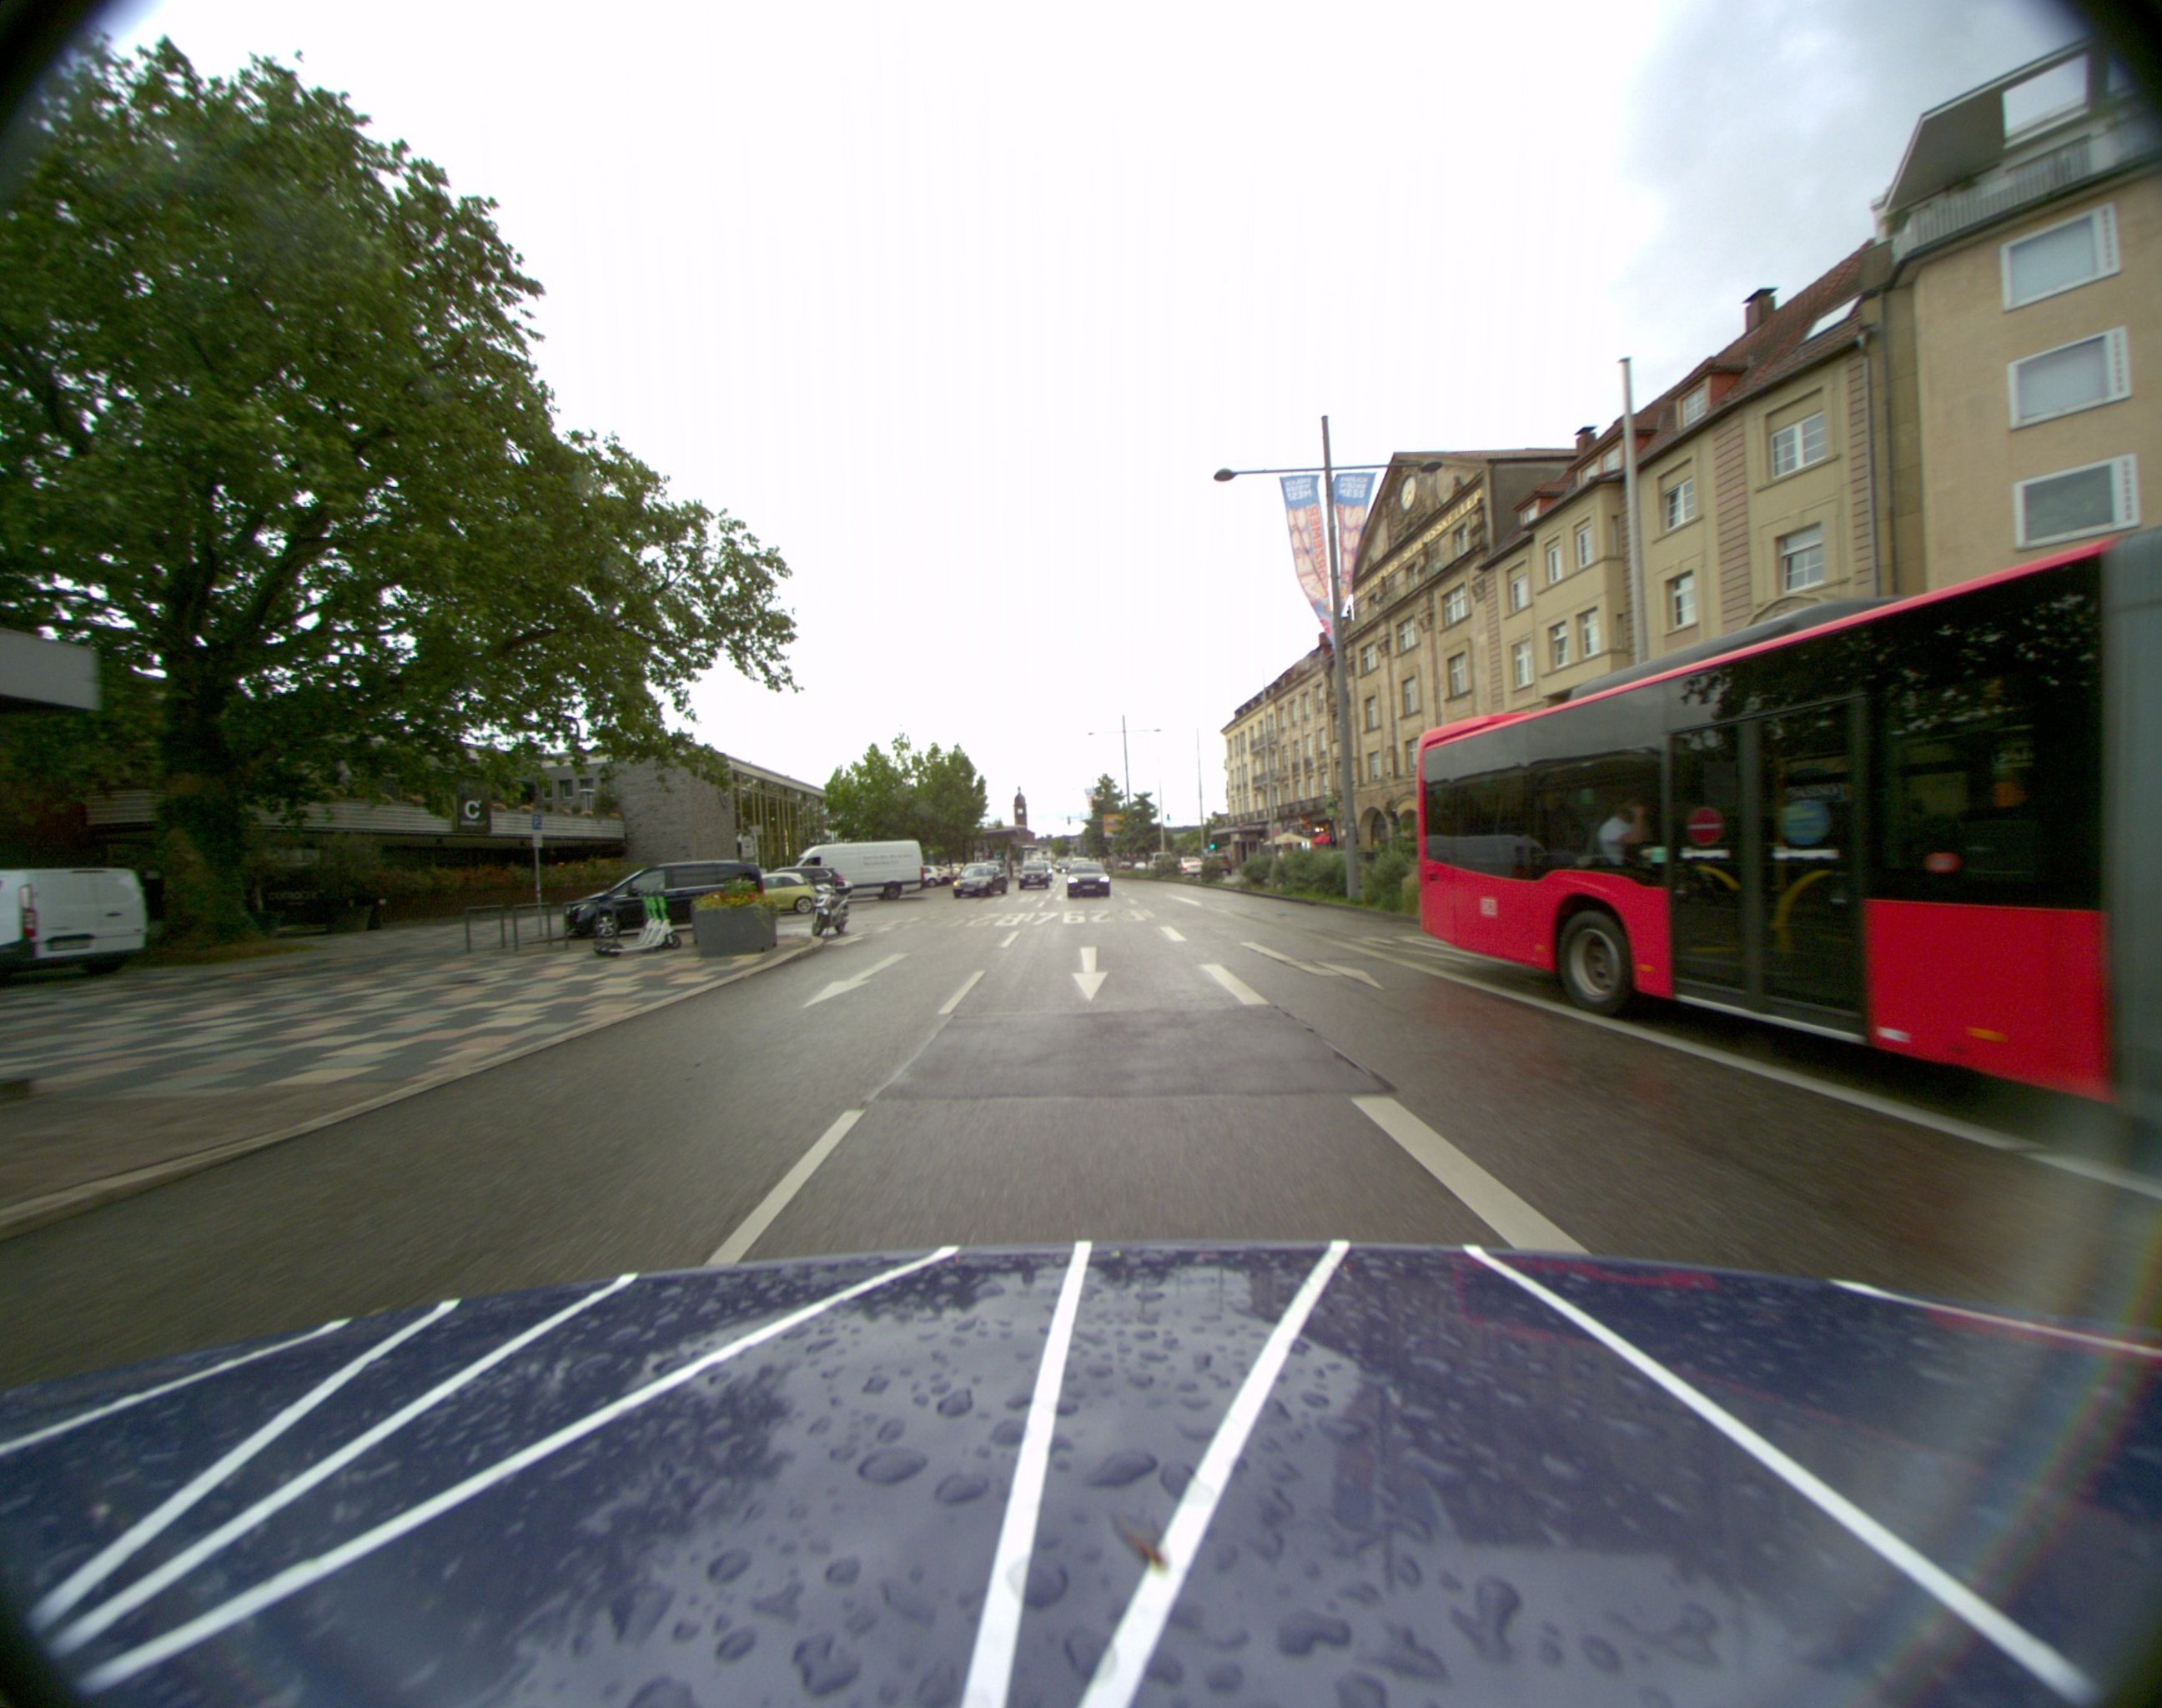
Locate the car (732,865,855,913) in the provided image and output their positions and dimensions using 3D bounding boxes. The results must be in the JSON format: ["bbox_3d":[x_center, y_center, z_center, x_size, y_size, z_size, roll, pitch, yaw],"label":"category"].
[{"bbox_3d":[-11.242,1.319,29.773,4.242,1.625,1.880,-2,0,-29],"label":"car"}]

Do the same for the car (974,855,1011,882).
[{"bbox_3d":[-5.969,0.960,51.728,1.824,1.672,4.417,-2,0,2],"label":"car"}]

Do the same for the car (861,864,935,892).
[{"bbox_3d":[-10.333,1.334,42.865,3.695,1.391,1.775,-2,0,-29],"label":"car"}]

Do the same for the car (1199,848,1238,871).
[{"bbox_3d":[10.747,0.406,59.650,1.999,1.670,4.100,-2,0,-4],"label":"car"}]

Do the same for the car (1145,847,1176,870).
[{"bbox_3d":[7.321,0.427,70.237,1.926,1.962,4.853,-2,0,-4],"label":"car"}]

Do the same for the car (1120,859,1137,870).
[{"bbox_3d":[6.818,1.495,109.577,1.847,1.455,5.029,-2,0,-2],"label":"car"}]

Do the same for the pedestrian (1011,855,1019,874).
[{"bbox_3d":[-6.090,0.986,70.087,0.560,1.741,0.700,-1,1,4],"label":"pedestrian"}]

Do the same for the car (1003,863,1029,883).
[{"bbox_3d":[-5.220,1.498,61.451,1.661,1.466,3.589,-2,0,1],"label":"car"}]

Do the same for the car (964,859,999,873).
[{"bbox_3d":[-11.252,1.317,85.567,1.824,1.482,4.148,-2,0,-43],"label":"car"}]

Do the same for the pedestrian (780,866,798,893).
[{"bbox_3d":[-17.906,1.562,46.578,0.758,1.632,0.833,-2,1,-2],"label":"pedestrian"}]

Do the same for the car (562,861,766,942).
[{"bbox_3d":[-11.516,1.225,21.146,4.707,1.864,2.104,-2,0,-32],"label":"car"}]

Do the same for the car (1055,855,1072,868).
[{"bbox_3d":[-2.182,0.897,92.939,1.984,1.438,3.907,-1,0,-2],"label":"car"}]

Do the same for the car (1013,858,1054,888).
[{"bbox_3d":[-2.612,1.025,42.508,1.871,1.466,3.826,-2,0,2],"label":"car"}]

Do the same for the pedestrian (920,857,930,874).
[{"bbox_3d":[-16.282,1.164,79.306,0.823,1.747,0.913,-2,1,4],"label":"pedestrian"}]

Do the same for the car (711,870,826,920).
[{"bbox_3d":[-11.010,1.381,26.806,3.595,1.515,1.759,-2,0,-26],"label":"car"}]

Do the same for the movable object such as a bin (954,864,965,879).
[{"bbox_3d":[-9.555,1.345,59.627,0.691,1.101,0.548,-8,2,-15],"label":"movable object such as a bin"}]

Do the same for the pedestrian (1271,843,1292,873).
[{"bbox_3d":[13.903,0.256,52.661,0.679,1.897,0.766,20,-5,-3],"label":"pedestrian"}]

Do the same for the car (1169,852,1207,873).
[{"bbox_3d":[7.781,0.613,55.634,1.795,1.398,4.983,-2,0,-3],"label":"car"}]

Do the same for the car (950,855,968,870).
[{"bbox_3d":[-14.829,1.066,92.111,1.821,1.546,4.461,-10,0,-10],"label":"car"}]

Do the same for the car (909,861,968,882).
[{"bbox_3d":[-10.324,1.245,55.026,3.935,1.391,1.776,-2,0,-22],"label":"car"}]

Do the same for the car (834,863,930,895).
[{"bbox_3d":[-10.429,1.276,39.885,4.477,1.462,1.915,-2,0,-30],"label":"car"}]

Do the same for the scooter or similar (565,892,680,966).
[{"bbox_3d":[-8.520,1.364,14.219,1.067,1.149,1.667,-3,1,0],"label":"scooter or similar"}]

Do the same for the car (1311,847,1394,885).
[{"bbox_3d":[12.251,0.492,34.629,1.795,1.569,4.738,-2,0,-3],"label":"car"}]

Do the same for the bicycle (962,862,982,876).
[{"bbox_3d":[-9.288,1.279,64.805,1.723,1.040,0.523,-3,1,-43],"label":"bicycle"}]

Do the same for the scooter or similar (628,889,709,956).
[{"bbox_3d":[-7.960,1.312,14.712,0.413,1.148,1.265,-4,1,31],"label":"scooter or similar"}]

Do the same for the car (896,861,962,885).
[{"bbox_3d":[-10.279,1.262,51.401,3.937,1.391,1.775,-2,0,-29],"label":"car"}]

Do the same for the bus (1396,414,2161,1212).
[{"bbox_3d":[5.755,-0.197,5.316,2.817,3.227,9.912,-2,0,-1],"label":"bus"}]

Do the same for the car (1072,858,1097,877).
[{"bbox_3d":[0.317,1.101,62.463,1.983,1.438,3.908,-1,0,1],"label":"car"}]

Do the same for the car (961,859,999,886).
[{"bbox_3d":[-6.087,1.078,46.077,1.661,1.466,3.589,-2,0,1],"label":"car"}]

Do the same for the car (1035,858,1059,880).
[{"bbox_3d":[-2.475,1.070,56.237,1.620,1.477,3.669,-2,0,-2],"label":"car"}]

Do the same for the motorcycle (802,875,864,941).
[{"bbox_3d":[-5.632,1.185,17.390,0.645,1.344,2.109,-2,0,0],"label":"motorcycle"}]

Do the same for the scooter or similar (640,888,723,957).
[{"bbox_3d":[-7.592,1.291,14.490,0.413,1.149,1.265,-4,2,31],"label":"scooter or similar"}]

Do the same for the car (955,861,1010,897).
[{"bbox_3d":[-4.522,1.122,35.309,1.871,1.466,3.826,-2,0,2],"label":"car"}]

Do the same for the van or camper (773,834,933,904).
[{"bbox_3d":[-10.279,0.607,34.506,6.540,2.853,2.275,-2,1,-30],"label":"van or camper"}]

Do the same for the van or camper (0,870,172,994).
[{"bbox_3d":[-19.505,1.375,13.399,4.290,1.979,2.020,-2,0,-3],"label":"van or camper"}]

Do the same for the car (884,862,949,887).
[{"bbox_3d":[-10.465,1.294,48.430,3.625,1.391,1.775,-2,0,-29],"label":"car"}]

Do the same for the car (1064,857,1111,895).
[{"bbox_3d":[0.324,0.901,32.671,1.871,1.466,3.826,-2,0,2],"label":"car"}]
